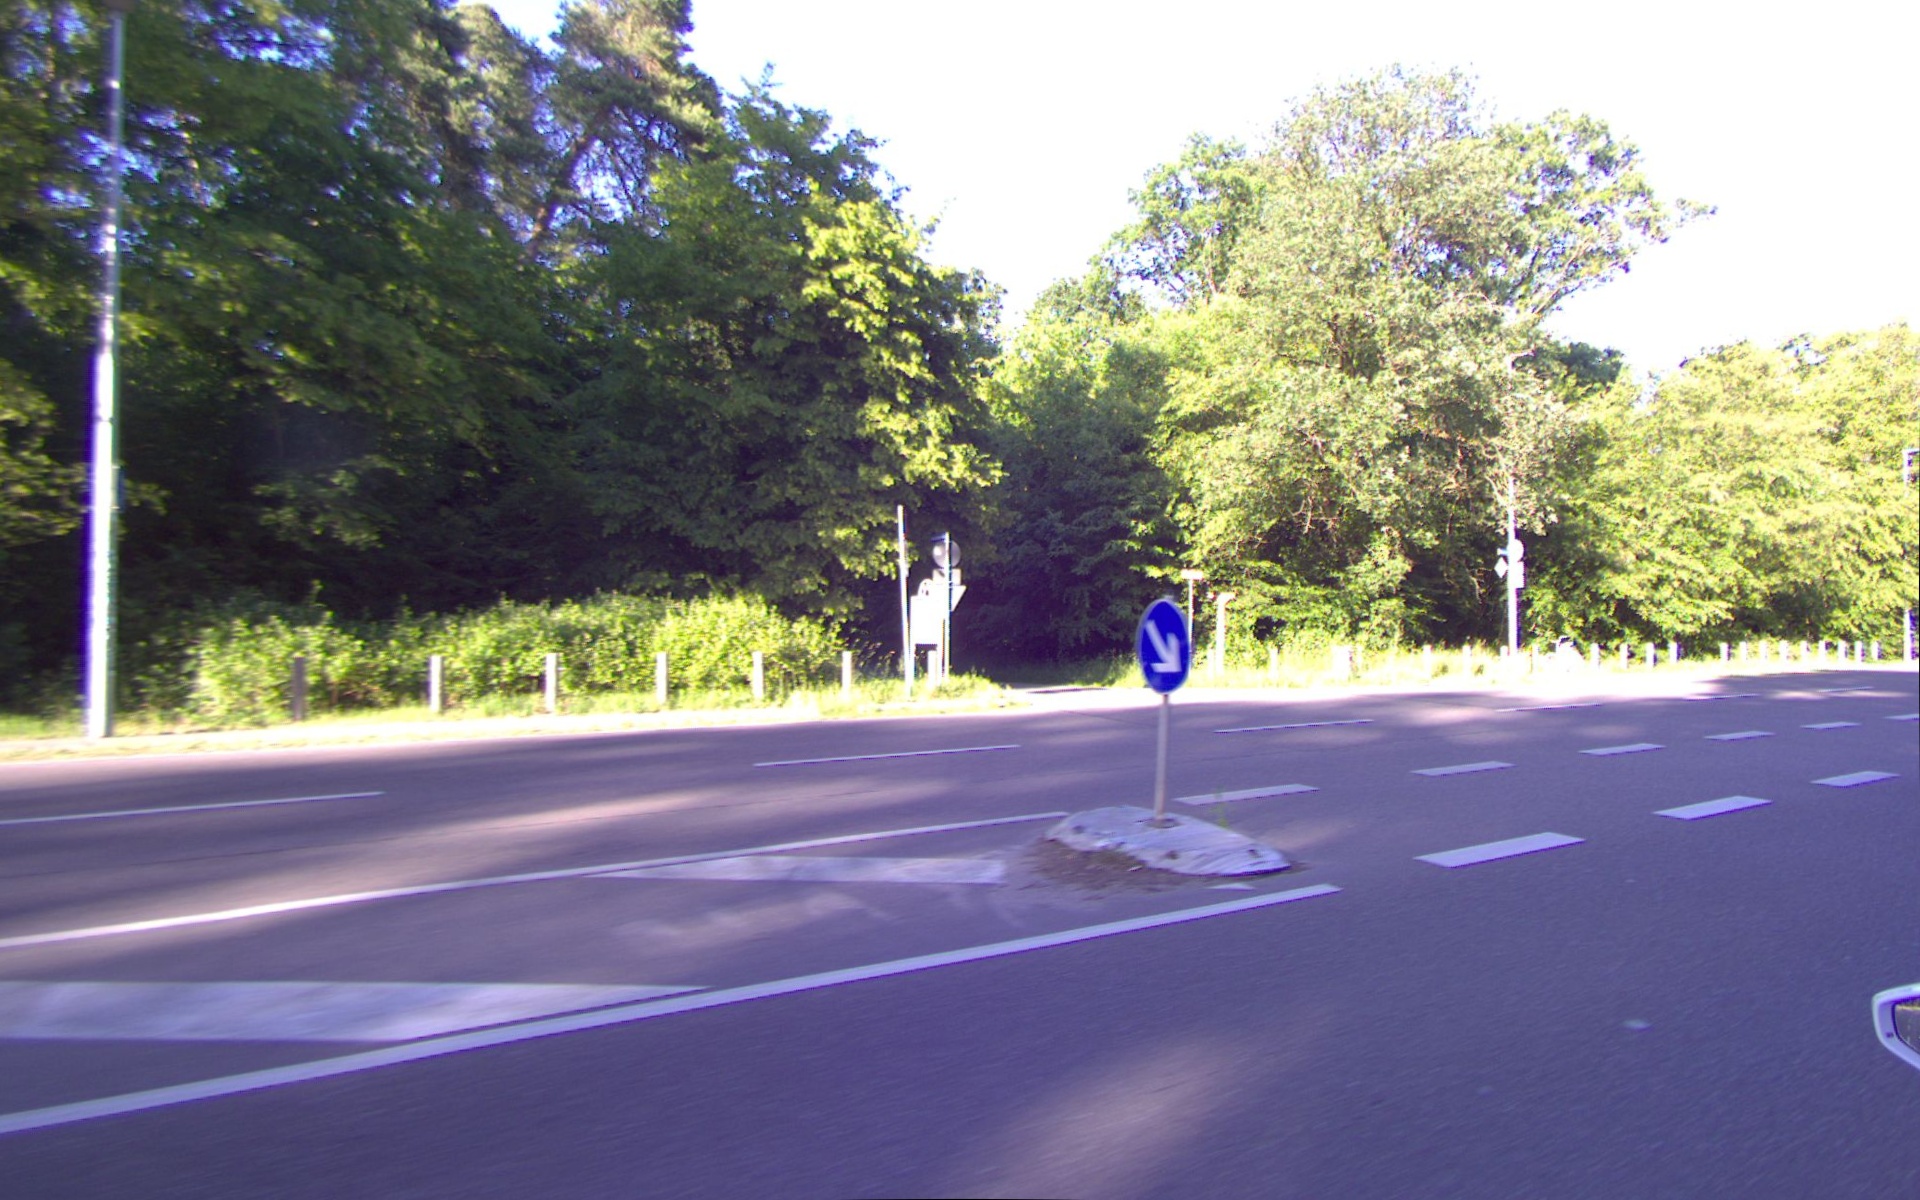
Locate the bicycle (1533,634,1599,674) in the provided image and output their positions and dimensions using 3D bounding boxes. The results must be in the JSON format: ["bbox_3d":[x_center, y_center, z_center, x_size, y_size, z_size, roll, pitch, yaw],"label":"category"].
[{"bbox_3d":[17.818,1.596,29.529,2.187,1.147,0.400,2,1,-22],"label":"bicycle"}]
